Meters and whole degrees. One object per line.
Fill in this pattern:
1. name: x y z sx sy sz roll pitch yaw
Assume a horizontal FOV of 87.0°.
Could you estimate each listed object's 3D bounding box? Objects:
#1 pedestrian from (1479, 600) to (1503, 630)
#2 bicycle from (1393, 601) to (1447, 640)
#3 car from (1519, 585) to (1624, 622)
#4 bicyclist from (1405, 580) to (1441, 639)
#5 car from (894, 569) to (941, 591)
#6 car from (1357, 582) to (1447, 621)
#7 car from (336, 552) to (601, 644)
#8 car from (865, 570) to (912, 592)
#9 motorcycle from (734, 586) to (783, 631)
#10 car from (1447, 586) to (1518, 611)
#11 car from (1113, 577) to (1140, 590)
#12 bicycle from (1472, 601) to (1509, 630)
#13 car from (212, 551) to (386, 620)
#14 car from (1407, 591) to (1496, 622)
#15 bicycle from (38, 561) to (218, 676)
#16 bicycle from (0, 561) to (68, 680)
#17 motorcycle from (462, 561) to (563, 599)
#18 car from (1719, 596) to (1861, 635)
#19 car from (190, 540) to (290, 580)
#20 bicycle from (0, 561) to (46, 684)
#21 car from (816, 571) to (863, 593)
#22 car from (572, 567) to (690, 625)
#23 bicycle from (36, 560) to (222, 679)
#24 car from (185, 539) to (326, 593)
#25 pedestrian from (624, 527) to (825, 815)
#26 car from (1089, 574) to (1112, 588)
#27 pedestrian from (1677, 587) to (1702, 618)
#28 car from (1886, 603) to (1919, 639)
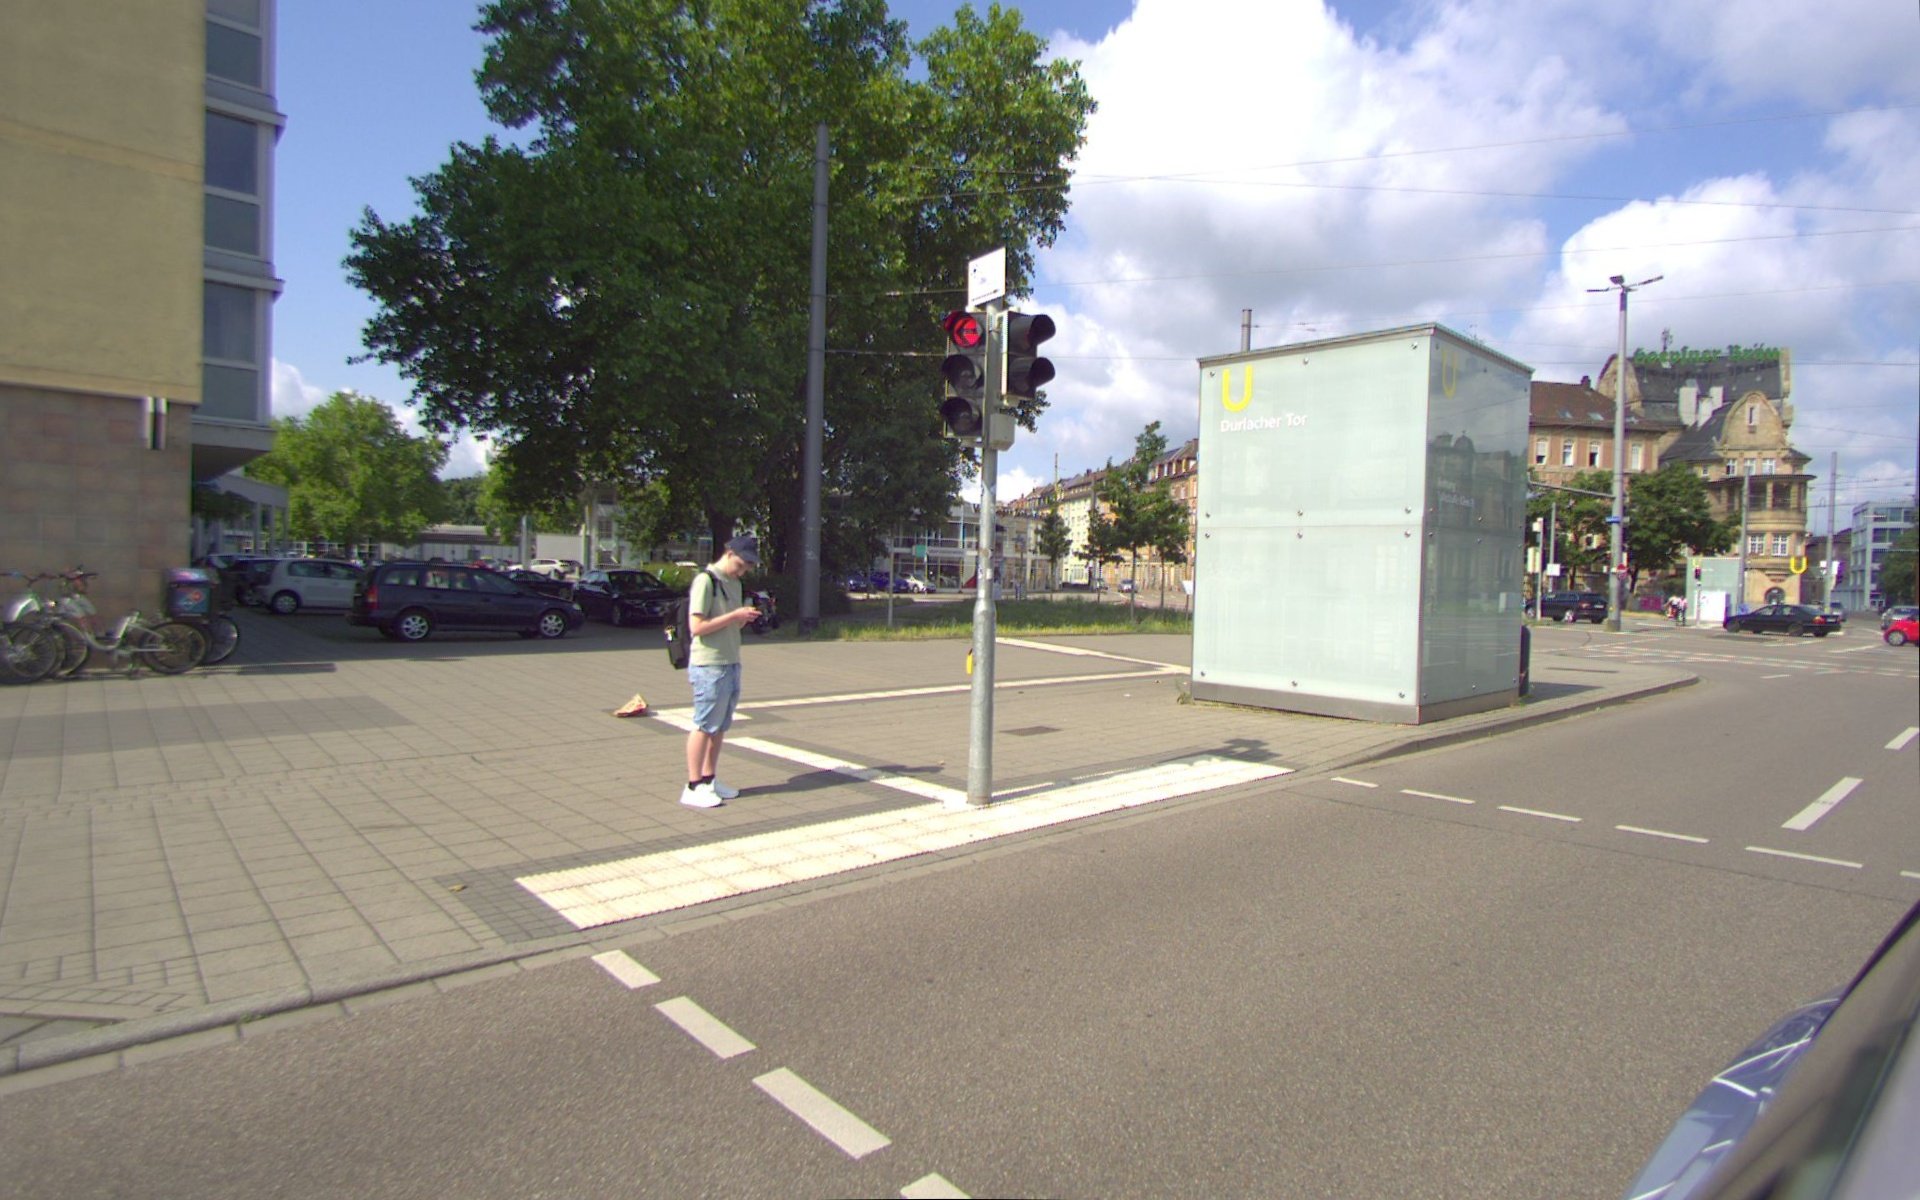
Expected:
1. pedestrian: 34.942 0.959 66.631 0.976 1.863 0.997 -3 2 -2
2. bicycle: 14.280 0.605 31.393 1.958 1.141 0.788 0 2 -42
3. car: 32.160 0.130 53.388 1.958 1.688 4.695 -1 3 -14
4. bicyclist: 14.375 0.290 31.412 0.814 1.766 0.711 -1 3 -43
5. car: -3.287 -1.558 76.971 1.887 1.571 4.005 1 2 -31
6. car: 19.841 0.033 45.652 1.789 1.531 4.008 -3 3 -9
7. car: -9.684 -0.105 20.135 4.320 1.604 1.995 -3 2 -43
8. car: -5.260 -1.381 73.979 1.887 1.462 4.005 1 2 -30
9. motorcycle: -4.647 0.176 23.404 0.594 0.913 1.893 -1 3 5
10. car: 33.047 -0.106 64.111 1.649 1.464 4.240 -2 1 -12
11. car: 17.980 -1.792 109.229 1.960 1.348 4.004 1 2 -4
12. bicycle: 34.963 1.018 66.743 0.989 1.746 2.471 -3 2 -2
13. car: -17.341 -0.411 26.613 3.516 1.548 1.996 -5 3 -43
14. car: 22.326 0.272 46.174 1.593 1.175 4.008 -3 3 -9
15. bicycle: -9.832 0.204 12.025 1.615 1.288 0.487 0 2 -38
16. bicycle: -10.822 0.214 11.019 1.615 1.288 0.487 0 2 -38
17. motorcycle: -20.999 -0.928 47.550 3.929 1.682 1.998 1 1 -40
18. car: 37.092 0.654 45.355 1.959 1.415 4.519 -2 3 -23
19. car: -32.621 -1.816 45.878 3.556 1.613 1.664 -5 3 -39
20. bicycle: -10.683 0.235 10.400 0.485 1.288 1.863 2 2 40
21. car: -8.638 -1.328 72.298 1.887 1.462 4.005 1 2 -30
22. car: -9.213 -0.140 28.175 1.765 1.438 3.996 1 1 -39
23. bicycle: -9.481 0.204 11.616 1.615 1.288 0.531 0 2 -38
24. car: -25.927 -1.285 37.304 3.937 1.753 1.813 -5 3 -45
25. pedestrian: -1.561 0.423 6.786 0.984 1.781 0.780 -1 3 24
26. car: 17.631 -2.421 126.912 1.750 1.727 4.007 1 2 -8
27. pedestrian: 39.598 0.131 54.960 0.780 1.662 0.710 1 1 -13
28. car: 35.704 0.784 36.504 1.576 1.229 3.017 -2 1 -18
